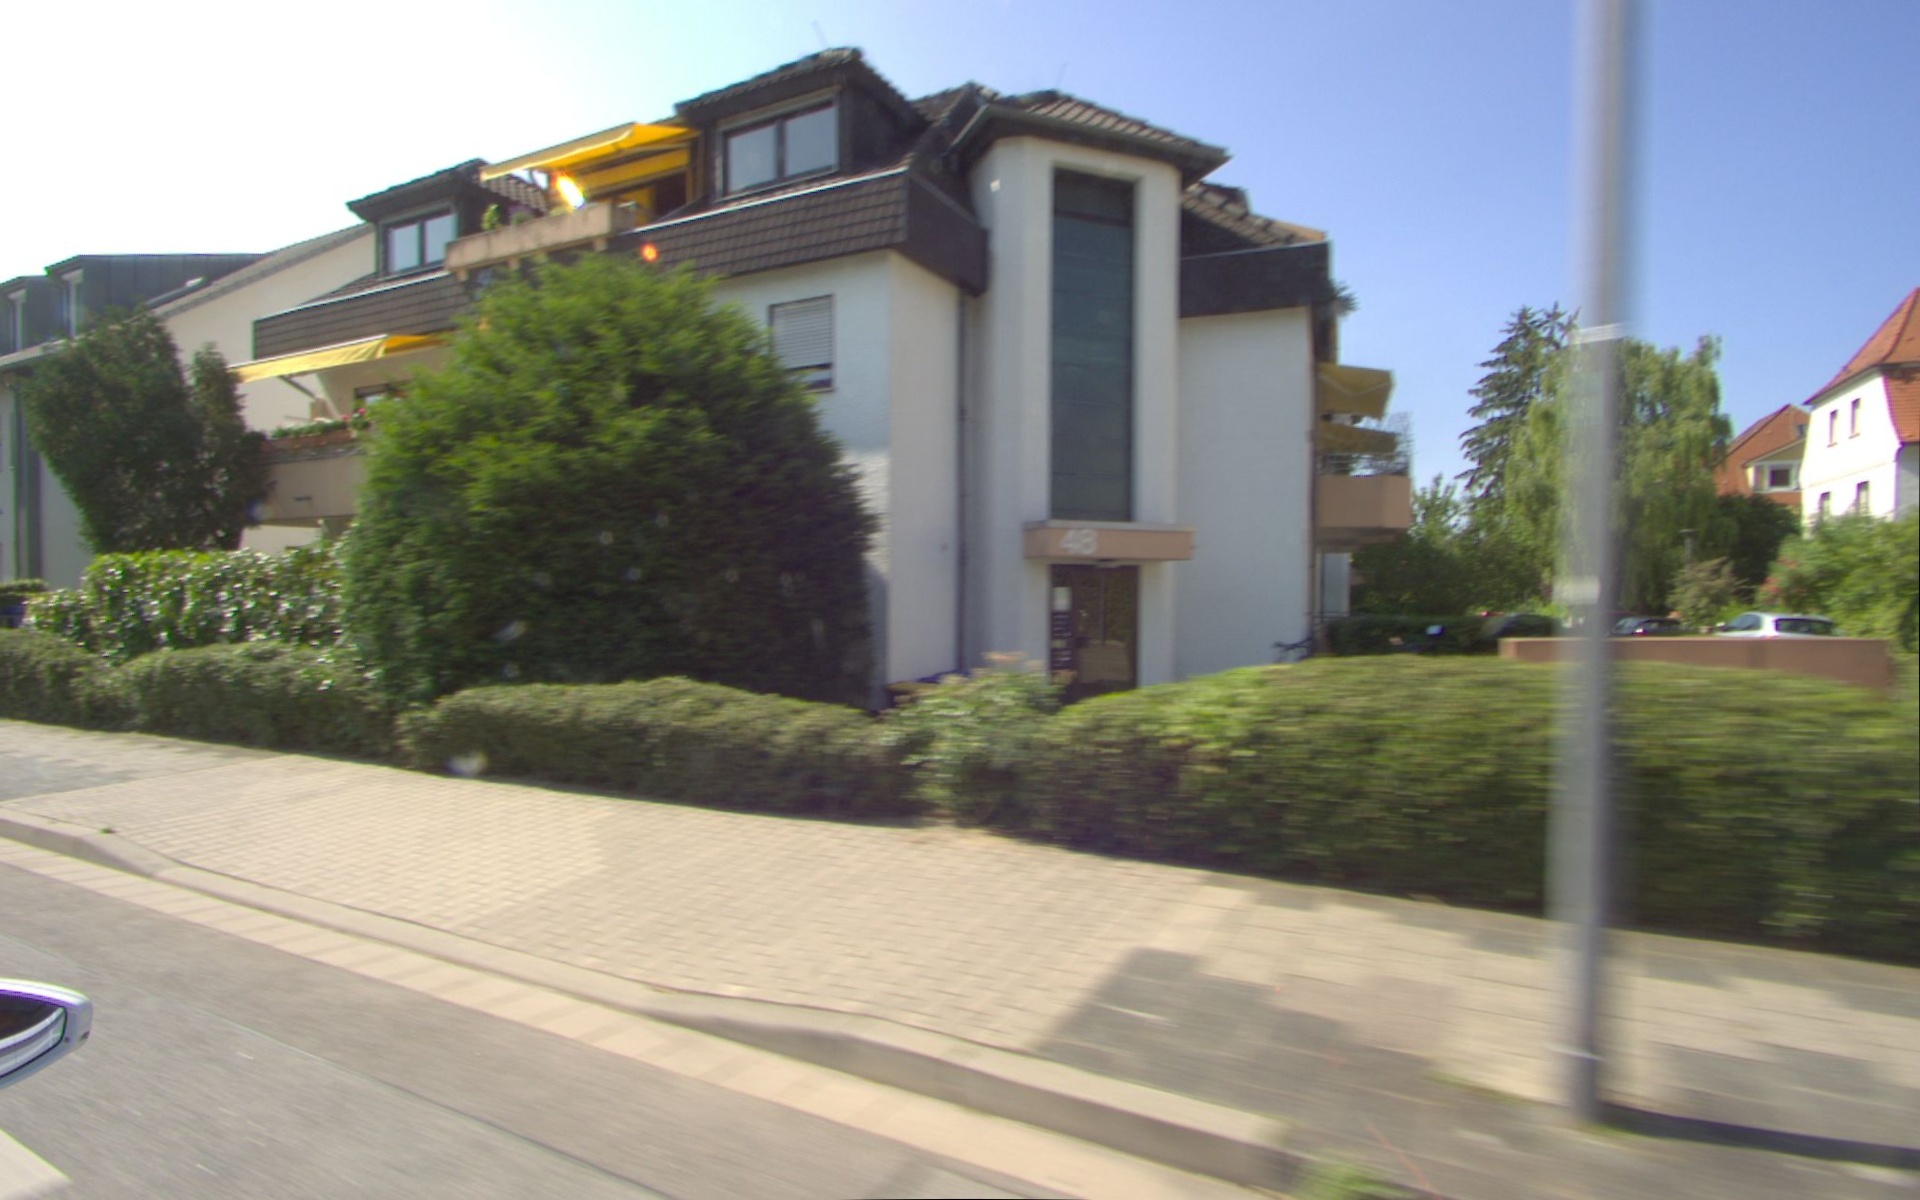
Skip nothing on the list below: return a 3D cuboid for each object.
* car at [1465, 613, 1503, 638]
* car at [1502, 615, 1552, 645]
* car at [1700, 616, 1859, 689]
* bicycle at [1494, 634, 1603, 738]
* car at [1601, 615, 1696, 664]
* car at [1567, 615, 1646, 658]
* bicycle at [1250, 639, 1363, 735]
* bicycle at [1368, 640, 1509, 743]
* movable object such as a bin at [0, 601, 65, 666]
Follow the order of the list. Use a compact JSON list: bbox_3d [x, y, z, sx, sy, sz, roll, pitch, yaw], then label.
[{"bbox_3d":[35.888,1.729,68.646,1.779,1.589,3.992,0,0,20],"label":"car"},{"bbox_3d":[32.242,1.676,57.044,1.779,1.589,3.992,0,0,20],"label":"car"},{"bbox_3d":[19.990,1.221,24.642,1.779,1.589,3.992,0,0,20],"label":"car"},{"bbox_3d":[7.465,1.053,12.793,0.620,1.111,1.820,1,2,12],"label":"bicycle"},{"bbox_3d":[24.106,1.341,35.205,1.779,1.589,3.992,0,0,20],"label":"car"},{"bbox_3d":[25.759,1.408,40.008,1.779,1.589,3.992,0,0,20],"label":"car"},{"bbox_3d":[4.680,1.147,13.666,0.621,1.111,1.682,0,2,-14],"label":"bicycle"},{"bbox_3d":[6.157,1.145,13.006,0.621,1.111,1.819,0,2,-14],"label":"bicycle"},{"bbox_3d":[-18.632,0.652,20.100,0.781,1.260,0.746,1,1,25],"label":"movable object such as a bin"}]
